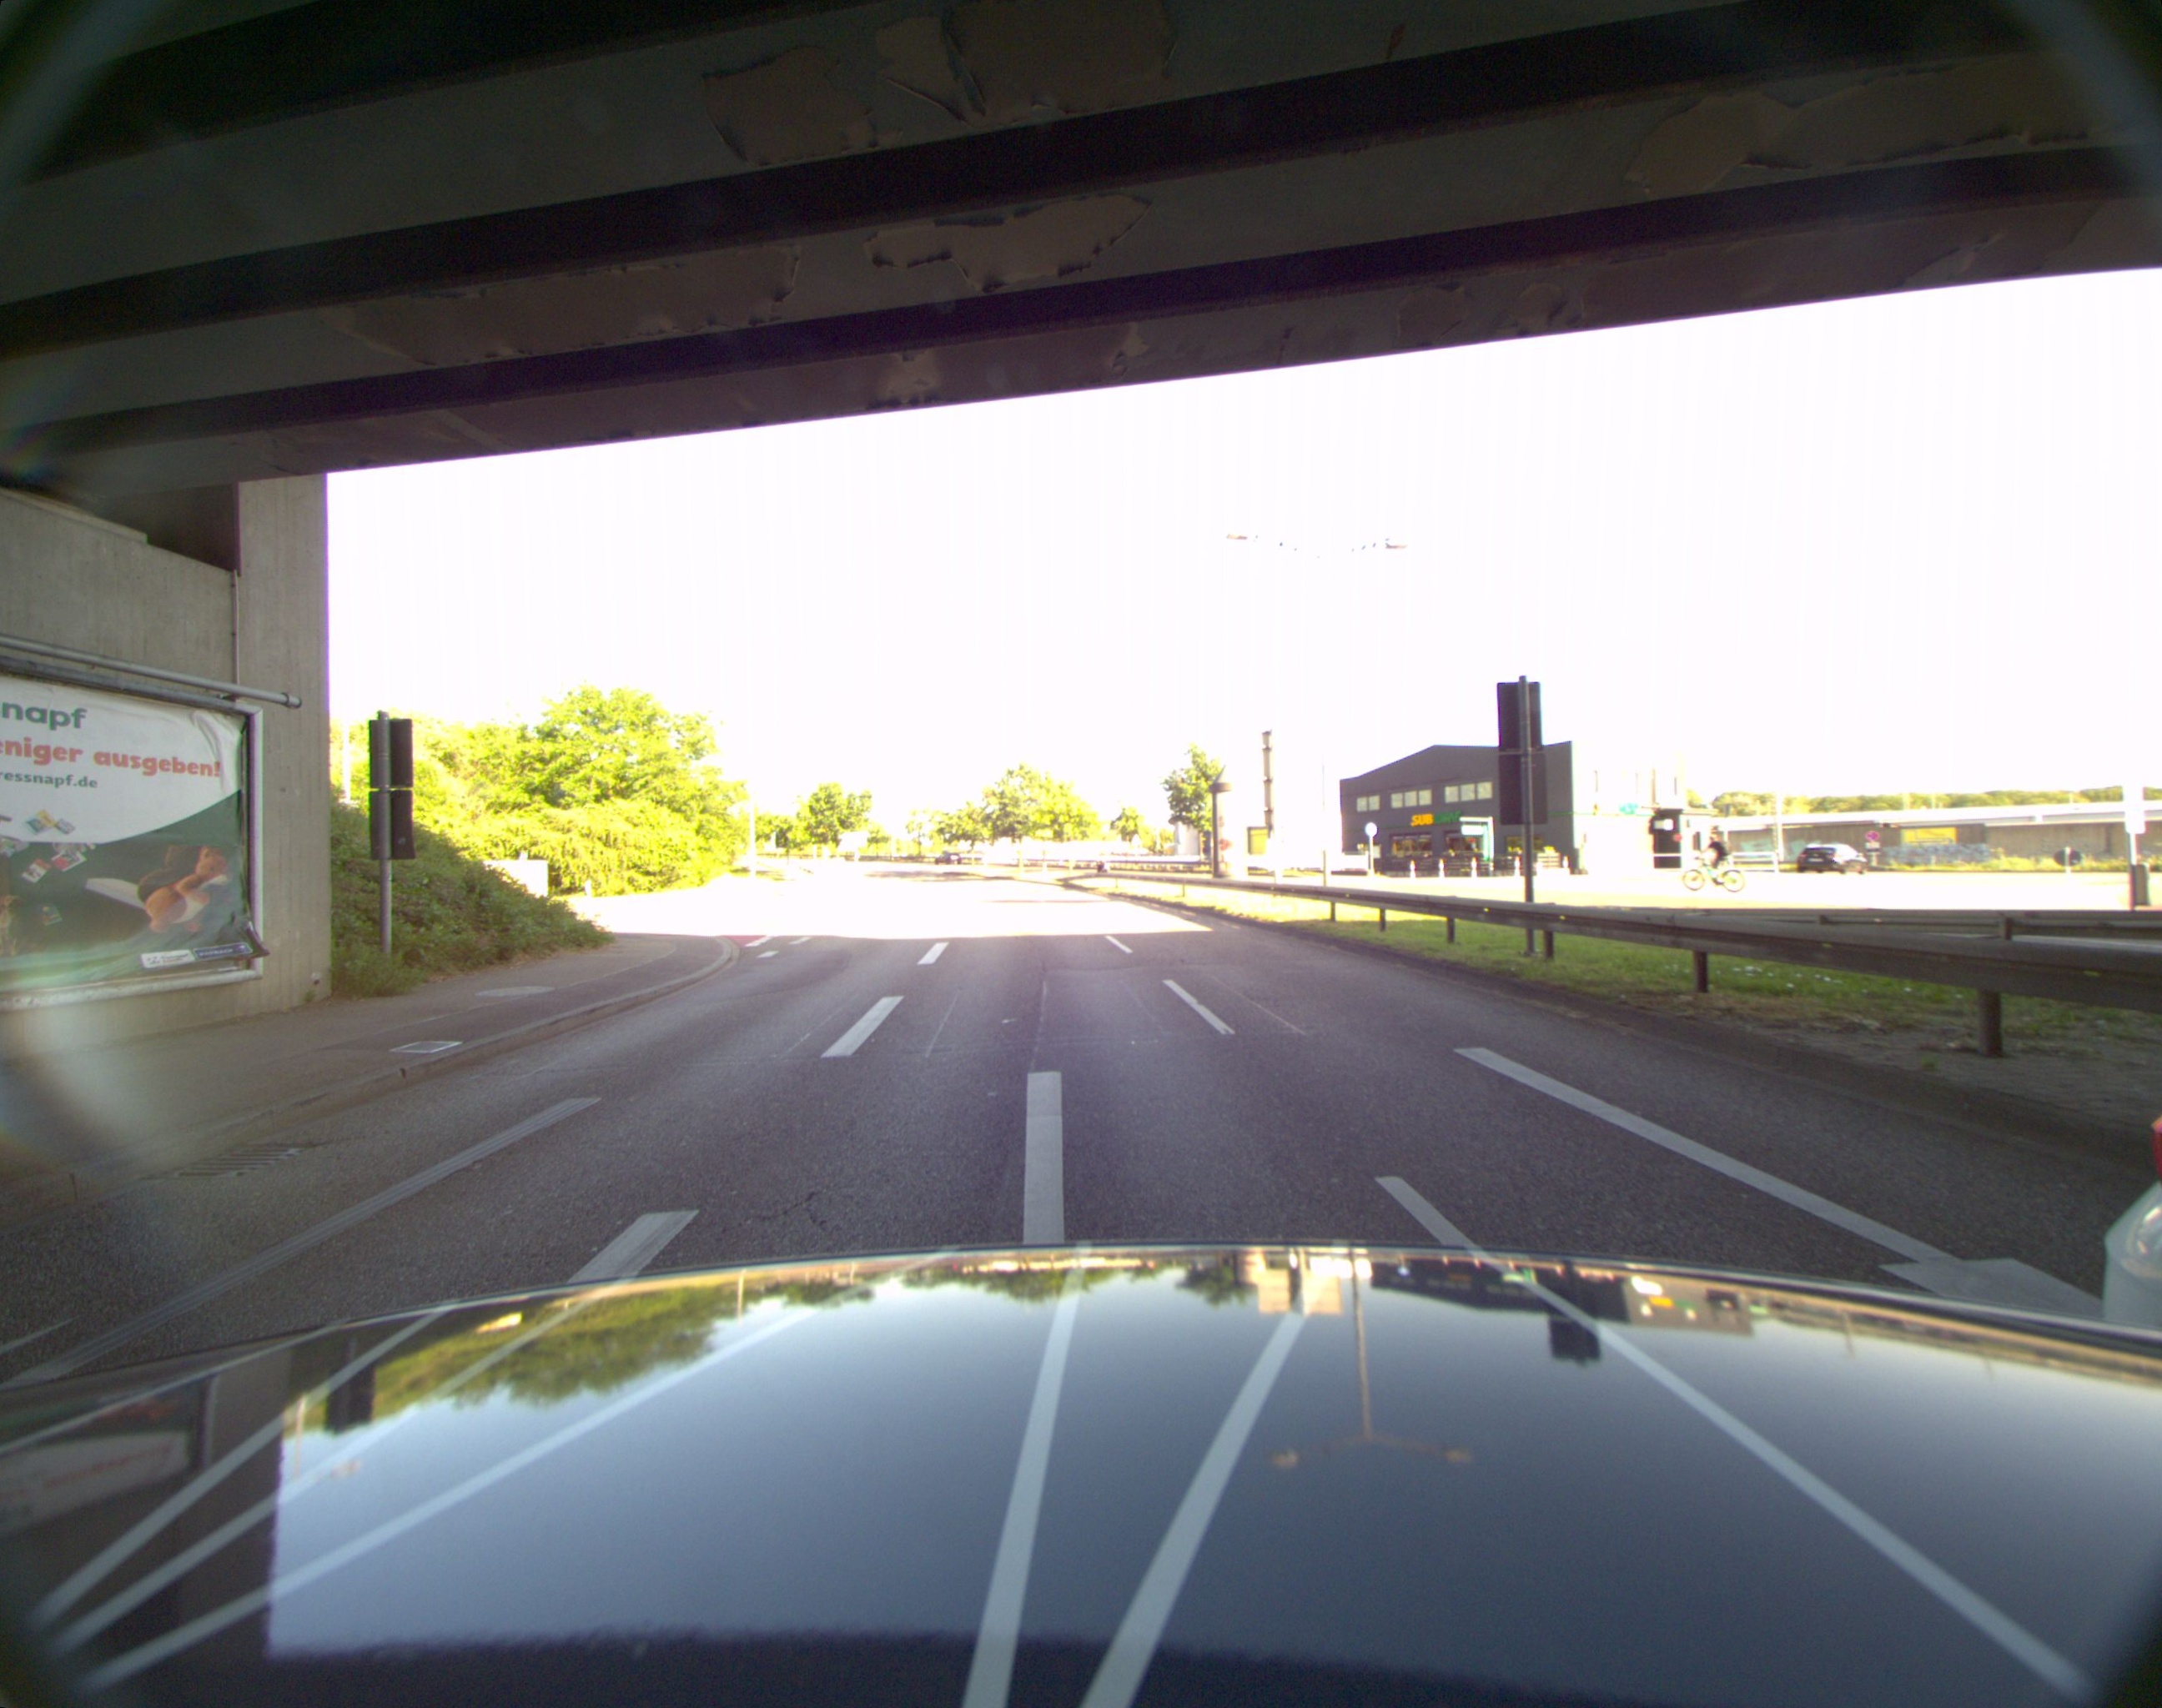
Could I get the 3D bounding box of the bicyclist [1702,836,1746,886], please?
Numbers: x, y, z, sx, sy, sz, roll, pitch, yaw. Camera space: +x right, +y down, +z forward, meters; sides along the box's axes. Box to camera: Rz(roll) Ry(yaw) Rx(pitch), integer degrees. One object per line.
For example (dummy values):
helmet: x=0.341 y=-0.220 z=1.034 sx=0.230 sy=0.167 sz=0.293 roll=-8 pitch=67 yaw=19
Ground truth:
bicyclist: x=20.135 y=0.218 z=23.812 sx=0.629 sy=1.516 sz=0.836 roll=-2 pitch=1 yaw=1

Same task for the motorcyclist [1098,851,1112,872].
motorcyclist: x=1.815 y=0.559 z=56.532 sx=0.700 sy=1.518 sz=0.696 roll=-2 pitch=-1 yaw=-34

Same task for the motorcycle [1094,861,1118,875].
motorcycle: x=1.871 y=1.040 z=56.460 sx=0.696 sy=1.021 sz=2.004 roll=-2 pitch=0 yaw=-34

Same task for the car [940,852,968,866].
car: x=-15.868 y=0.635 z=94.520 sx=1.860 sy=1.607 sz=4.354 roll=-3 pitch=1 yaw=-31

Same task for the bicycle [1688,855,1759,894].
bicycle: x=20.157 y=0.622 z=23.887 sx=0.635 sy=1.159 sz=1.877 roll=-2 pitch=1 yaw=1

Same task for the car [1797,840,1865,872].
car: x=38.430 y=0.093 z=38.925 sx=4.007 sy=1.434 sz=1.878 roll=-3 pitch=1 yaw=-37
